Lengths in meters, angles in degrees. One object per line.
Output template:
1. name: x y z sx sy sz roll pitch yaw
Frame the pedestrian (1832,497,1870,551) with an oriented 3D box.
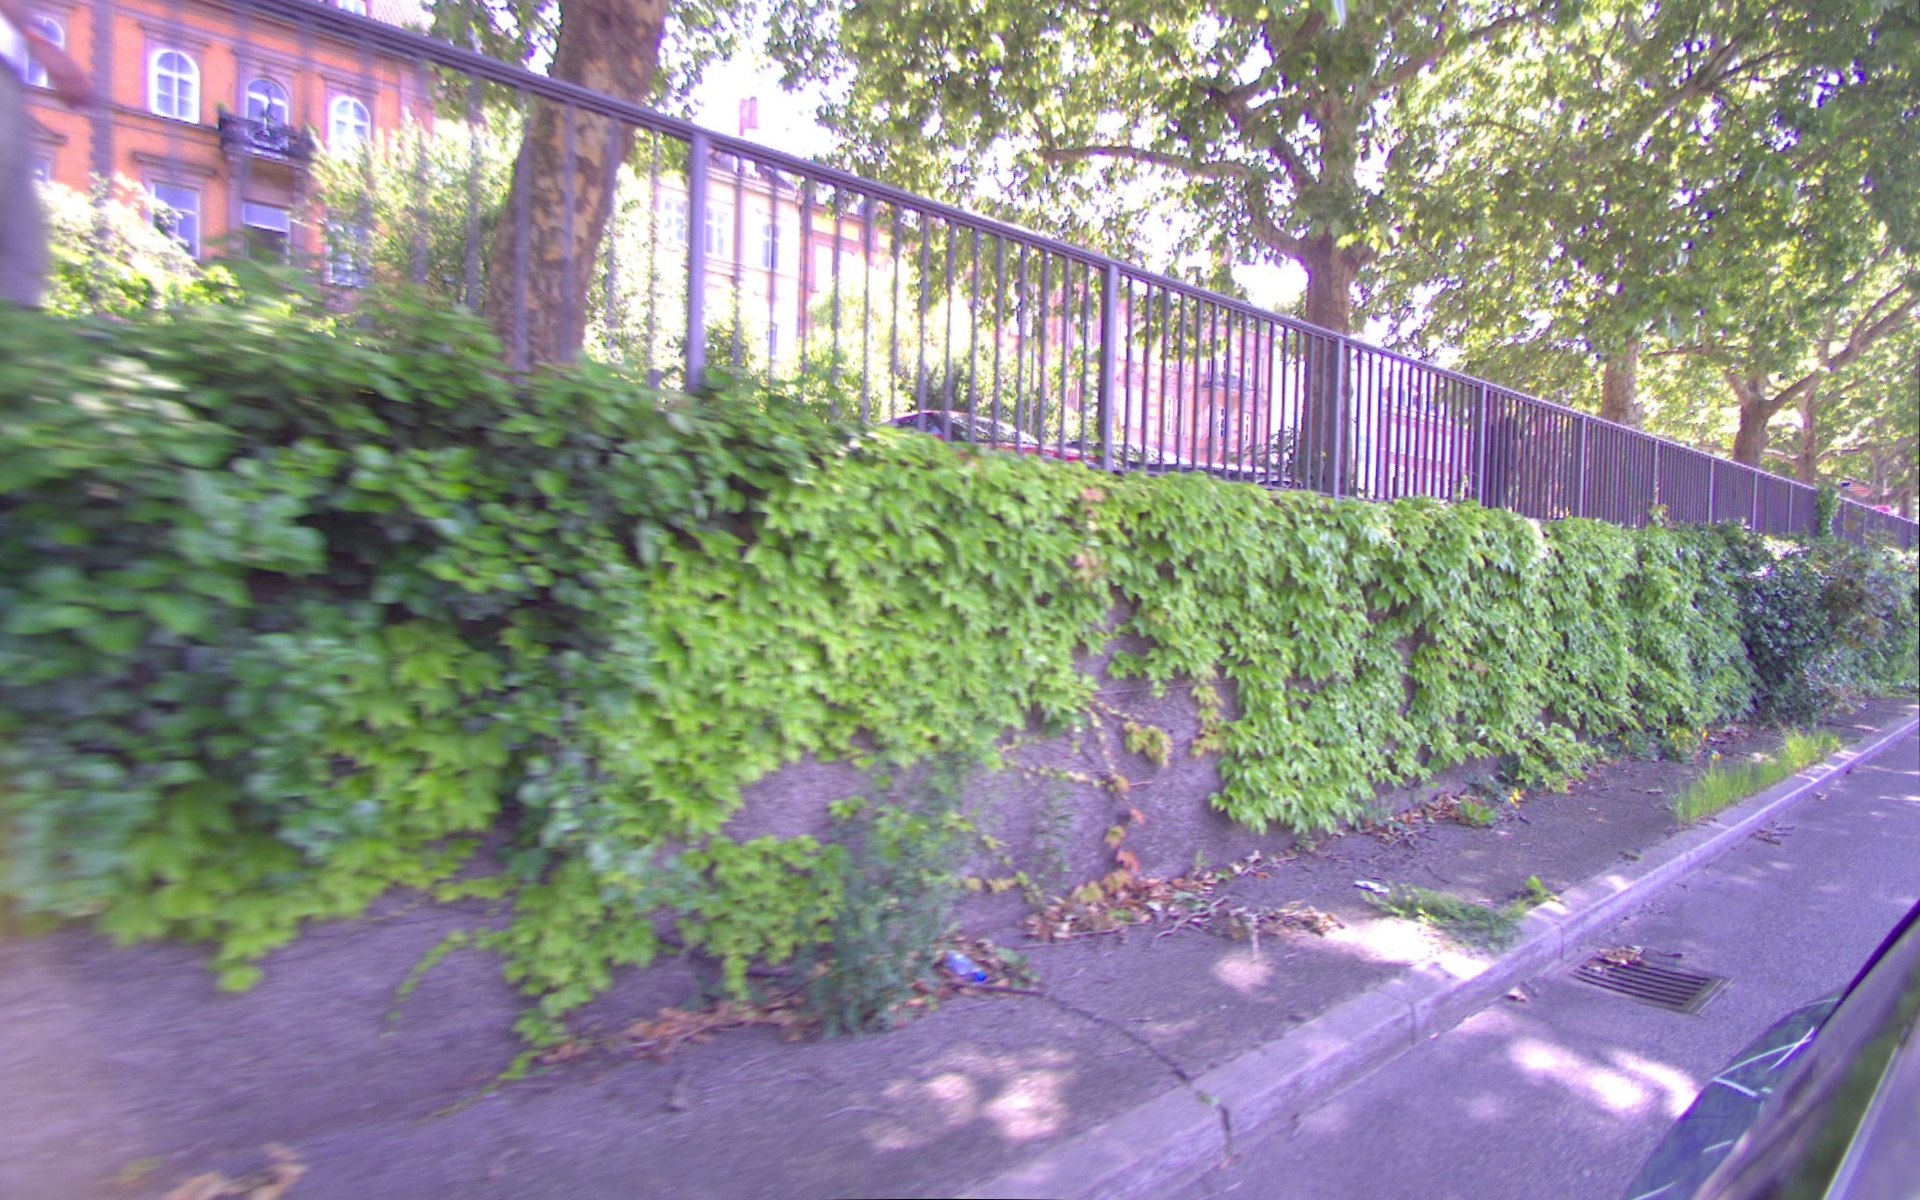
1. pedestrian: 21.462 -1.827 24.376 0.679 1.259 0.577 0 2 -41

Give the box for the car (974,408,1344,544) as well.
1. car: 2.000 -1.213 10.990 1.622 1.128 3.738 0 2 -41

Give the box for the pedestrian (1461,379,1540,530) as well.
1. pedestrian: 6.326 -1.668 11.837 0.646 1.660 0.617 2 2 42

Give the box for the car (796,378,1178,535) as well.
1. car: 0.105 -1.254 9.942 1.623 1.128 3.736 0 2 -42

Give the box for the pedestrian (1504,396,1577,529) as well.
1. pedestrian: 6.629 -1.543 11.560 0.584 1.437 0.580 2 2 42

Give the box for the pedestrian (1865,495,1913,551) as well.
1. pedestrian: 21.730 -1.782 23.665 0.729 1.259 0.712 0 2 -41

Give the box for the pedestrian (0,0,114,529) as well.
1. pedestrian: -2.572 -1.003 2.575 0.639 1.611 0.666 0 2 -40
